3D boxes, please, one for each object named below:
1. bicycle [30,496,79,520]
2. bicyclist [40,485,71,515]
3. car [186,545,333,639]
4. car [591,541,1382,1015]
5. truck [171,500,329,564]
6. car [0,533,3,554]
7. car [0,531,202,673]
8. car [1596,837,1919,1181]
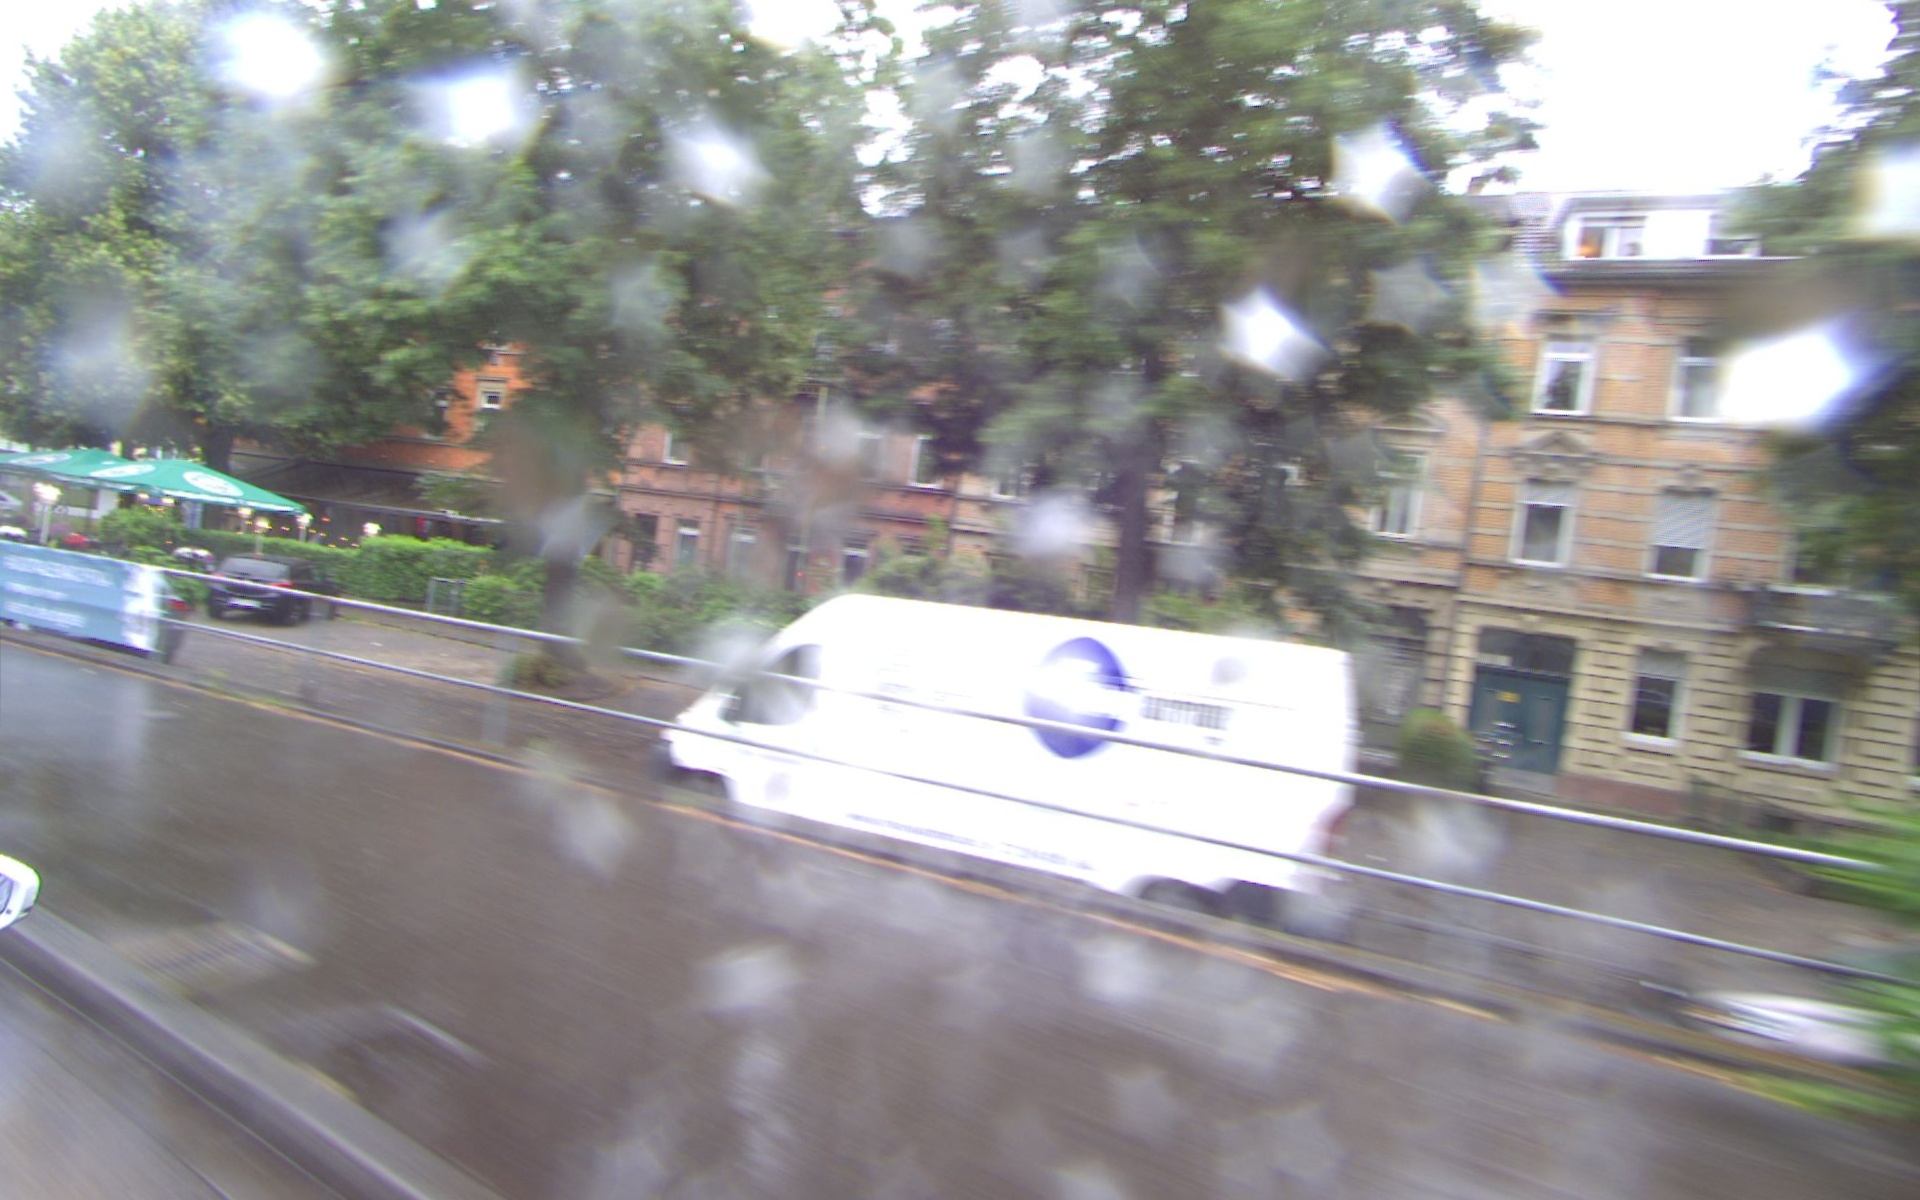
[{"bbox_3d":[-54.379,-5.533,60.411,0.649,1.038,2.019,7,-3,38],"label":"bicycle"},{"bbox_3d":[-54.316,-6.008,60.436,0.922,1.565,1.066,7,-2,37],"label":"bicyclist"},{"bbox_3d":[-16.138,-0.187,23.412,1.976,1.732,3.977,9,-2,-25],"label":"car"},{"bbox_3d":[0.160,1.163,8.536,6.046,2.447,2.218,7,-3,23],"label":"car"},{"bbox_3d":[-34.332,-3.231,48.871,2.076,2.036,5.761,7,-3,30],"label":"truck"},{"bbox_3d":[-17.295,-0.643,15.927,3.902,1.416,1.709,7,-2,25],"label":"car"},{"bbox_3d":[-12.818,-0.072,14.005,4.001,1.556,1.739,7,-2,24],"label":"car"},{"bbox_3d":[6.463,2.594,5.802,4.304,1.367,1.975,7,-3,22],"label":"car"}]
